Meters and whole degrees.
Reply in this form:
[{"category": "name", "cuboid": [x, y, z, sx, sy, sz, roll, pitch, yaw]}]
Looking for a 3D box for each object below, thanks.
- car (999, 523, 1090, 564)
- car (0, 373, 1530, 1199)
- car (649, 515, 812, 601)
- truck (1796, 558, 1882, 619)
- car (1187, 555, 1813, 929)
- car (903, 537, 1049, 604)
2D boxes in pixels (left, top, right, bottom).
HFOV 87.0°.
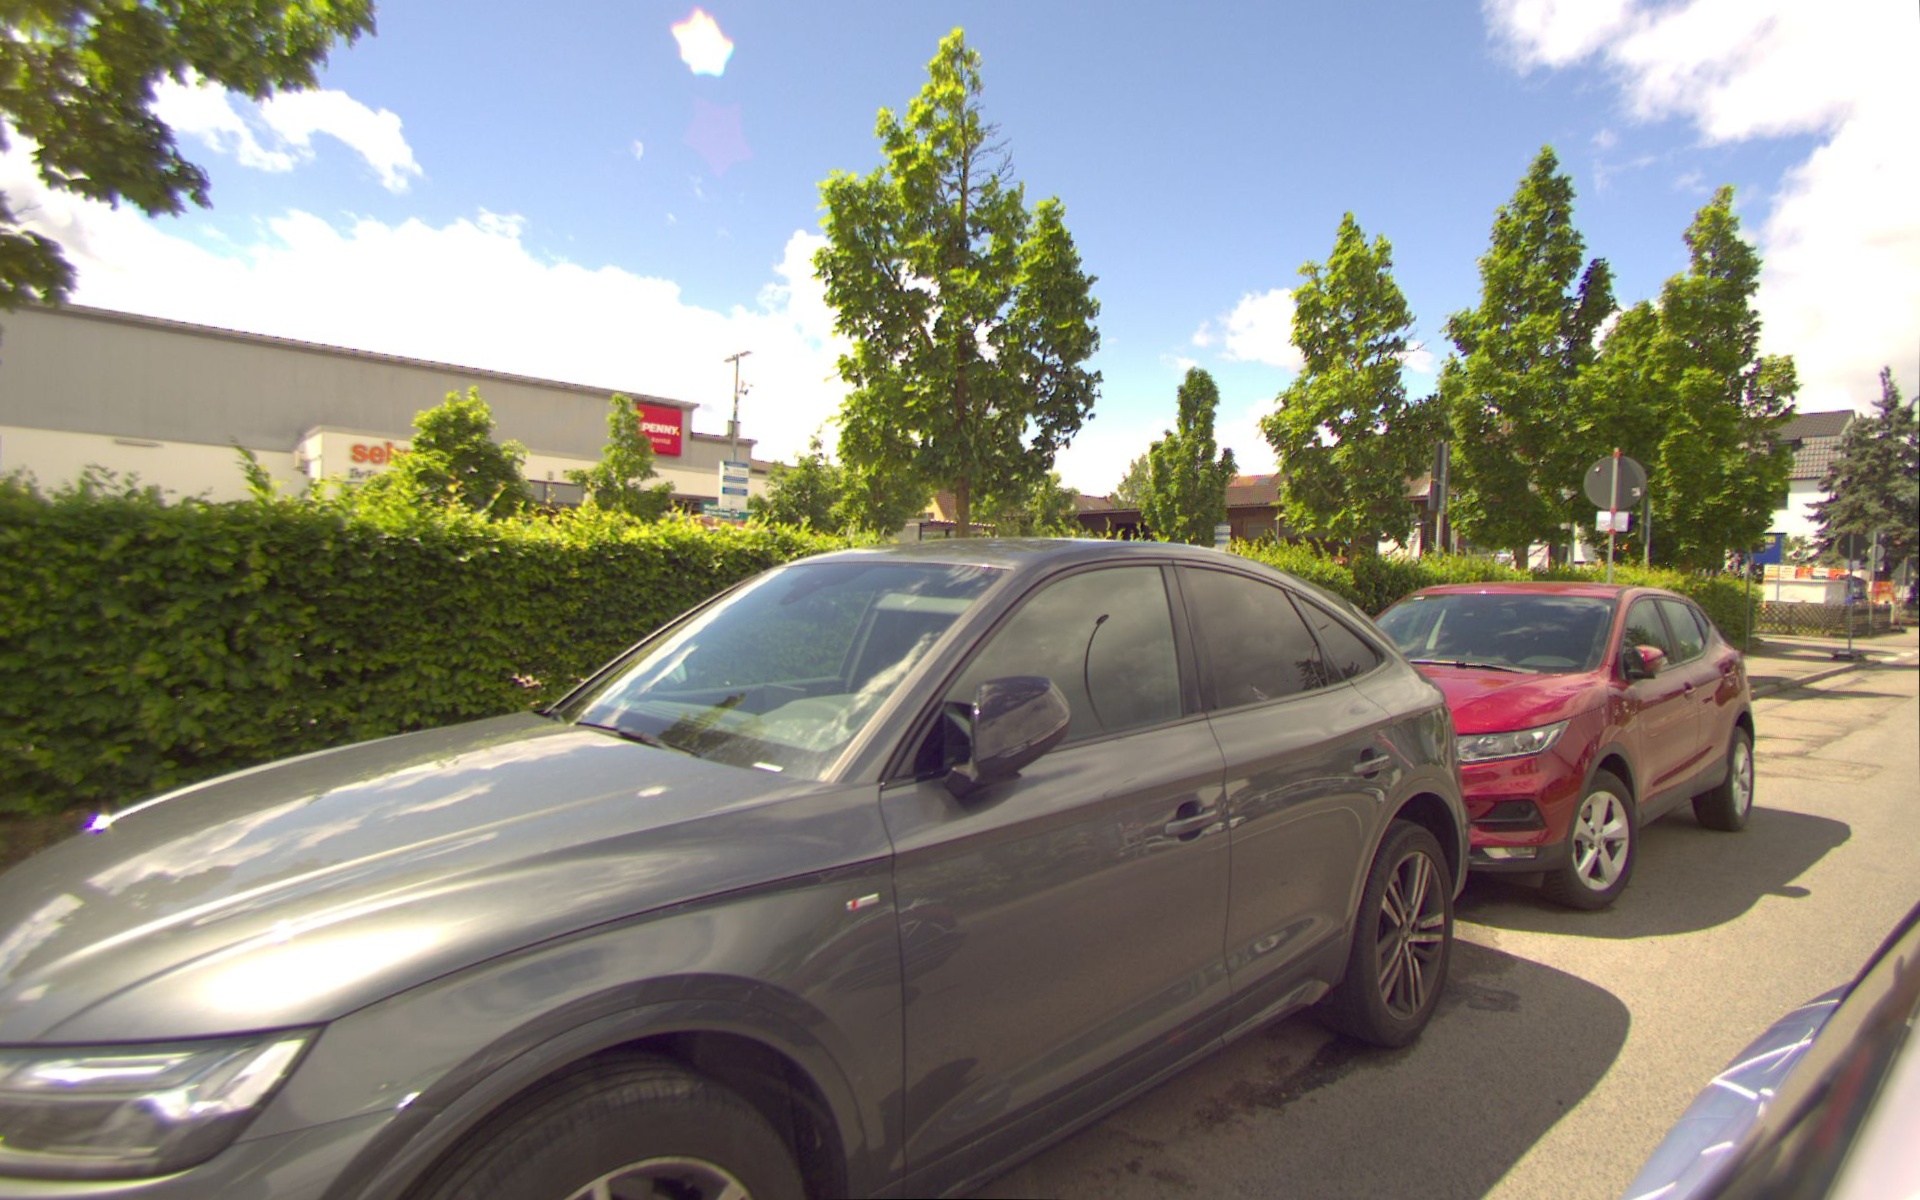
[{"category": "car", "cuboid": [3.777, -2.467, 44.865, 3.927, 1.605, 1.750, 0, -1, -39]}, {"category": "car", "cuboid": [-0.116, 0.550, 3.043, 4.370, 1.591, 1.944, 0, 2, -43]}, {"category": "car", "cuboid": [-5.319, -0.872, 23.152, 1.966, 1.728, 3.991, 1, -1, -42]}, {"category": "truck", "cuboid": [34.792, -0.404, 40.001, 5.292, 2.107, 1.833, 2, 3, -42]}, {"category": "car", "cuboid": [3.626, 0.579, 6.443, 4.365, 1.591, 1.946, 0, 2, -39]}, {"category": "car", "cuboid": [0.385, -0.765, 28.703, 1.966, 1.728, 3.991, 1, -1, -42]}]
